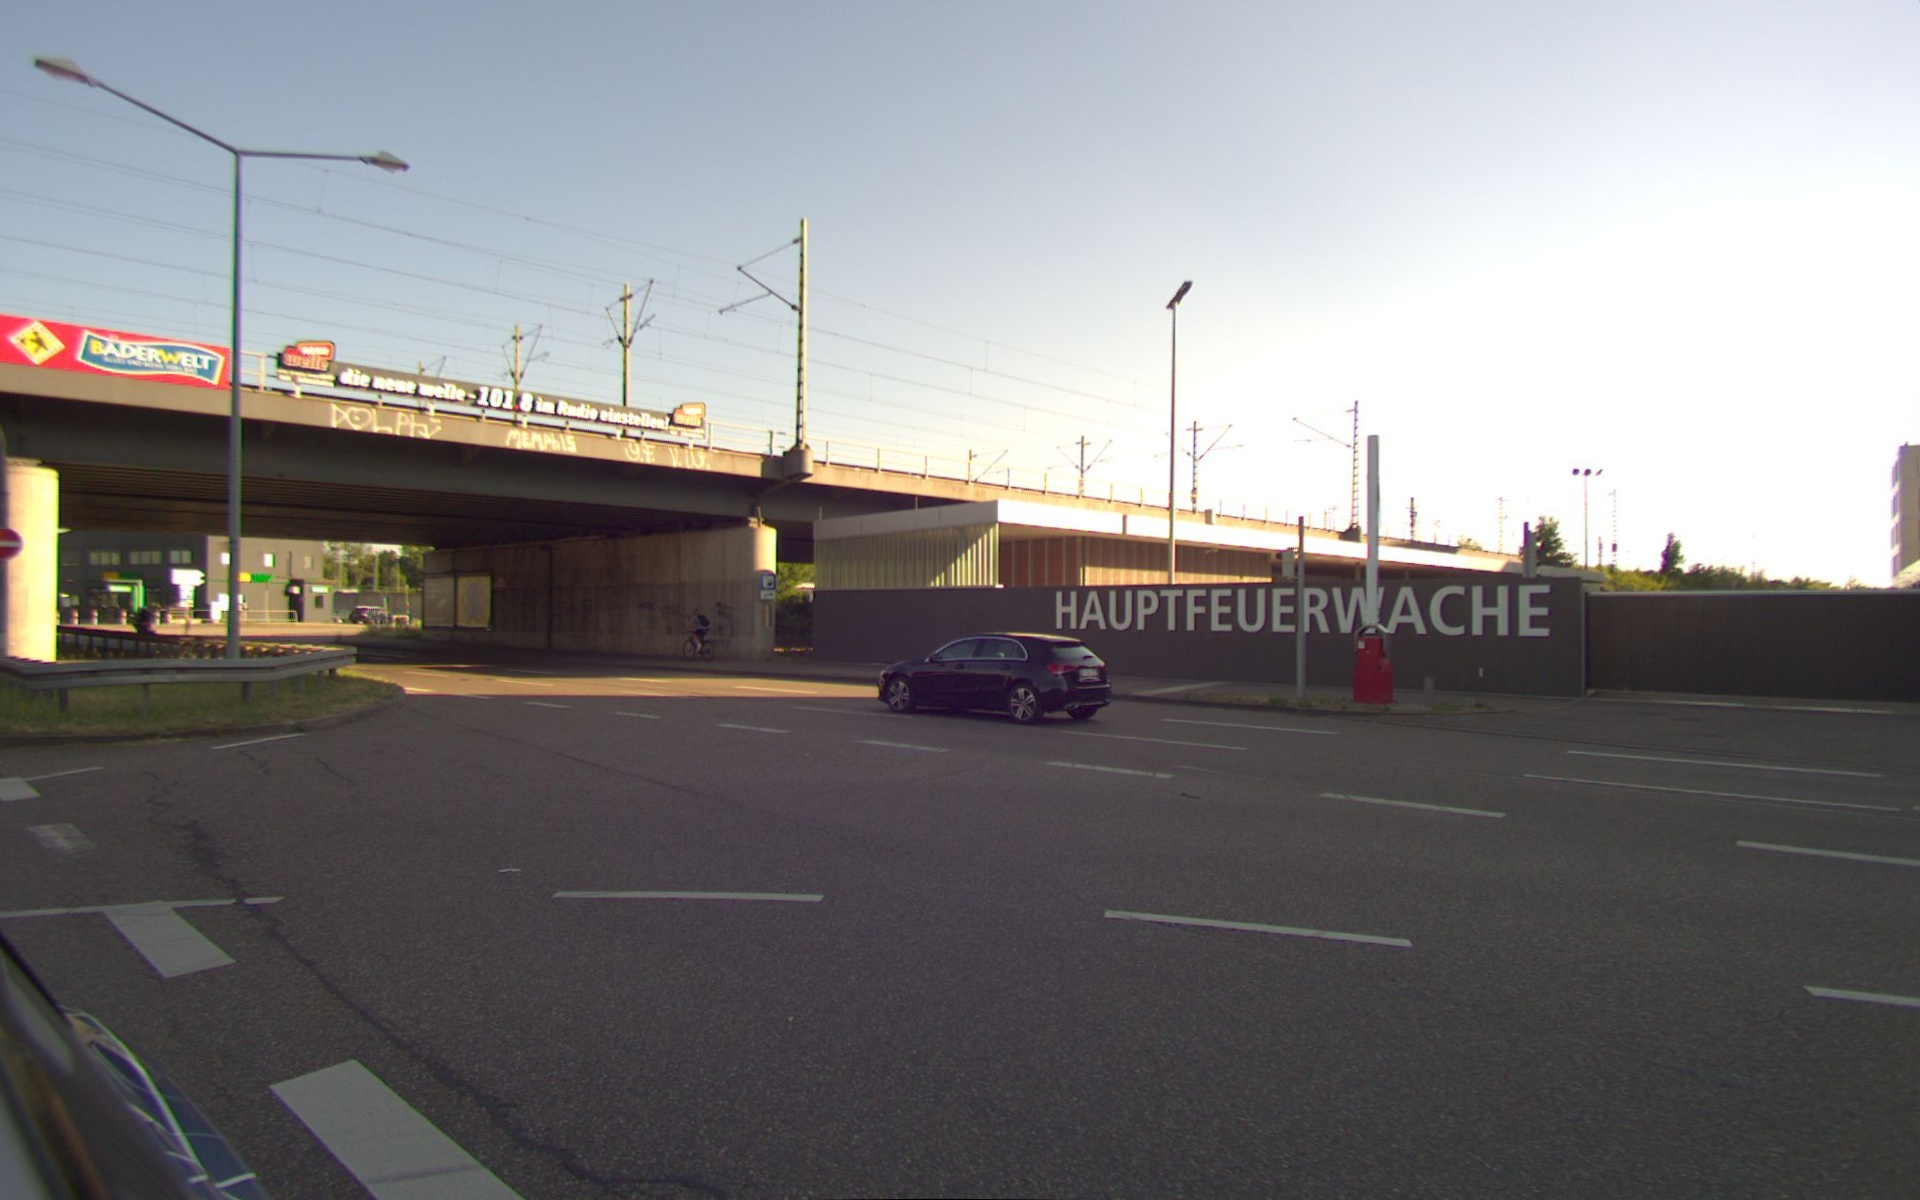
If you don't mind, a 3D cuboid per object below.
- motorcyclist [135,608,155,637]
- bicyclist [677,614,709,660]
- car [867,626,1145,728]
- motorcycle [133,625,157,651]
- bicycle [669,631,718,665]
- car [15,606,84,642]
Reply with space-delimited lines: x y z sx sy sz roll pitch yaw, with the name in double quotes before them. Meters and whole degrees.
"motorcyclist" -40.964 1.130 50.881 0.868 1.434 0.673 0 1 44
"bicyclist" -9.524 1.308 36.057 0.716 1.575 0.940 -1 1 -45
"car" 0.695 1.249 17.099 4.345 1.411 1.973 0 -4 40
"motorcycle" -40.950 1.896 50.864 2.240 1.165 0.673 0 1 45
"bicycle" -9.492 1.698 36.018 0.697 1.165 2.082 -1 -1 -45
"car" -48.168 1.275 53.534 4.677 1.709 1.973 0 -4 40
